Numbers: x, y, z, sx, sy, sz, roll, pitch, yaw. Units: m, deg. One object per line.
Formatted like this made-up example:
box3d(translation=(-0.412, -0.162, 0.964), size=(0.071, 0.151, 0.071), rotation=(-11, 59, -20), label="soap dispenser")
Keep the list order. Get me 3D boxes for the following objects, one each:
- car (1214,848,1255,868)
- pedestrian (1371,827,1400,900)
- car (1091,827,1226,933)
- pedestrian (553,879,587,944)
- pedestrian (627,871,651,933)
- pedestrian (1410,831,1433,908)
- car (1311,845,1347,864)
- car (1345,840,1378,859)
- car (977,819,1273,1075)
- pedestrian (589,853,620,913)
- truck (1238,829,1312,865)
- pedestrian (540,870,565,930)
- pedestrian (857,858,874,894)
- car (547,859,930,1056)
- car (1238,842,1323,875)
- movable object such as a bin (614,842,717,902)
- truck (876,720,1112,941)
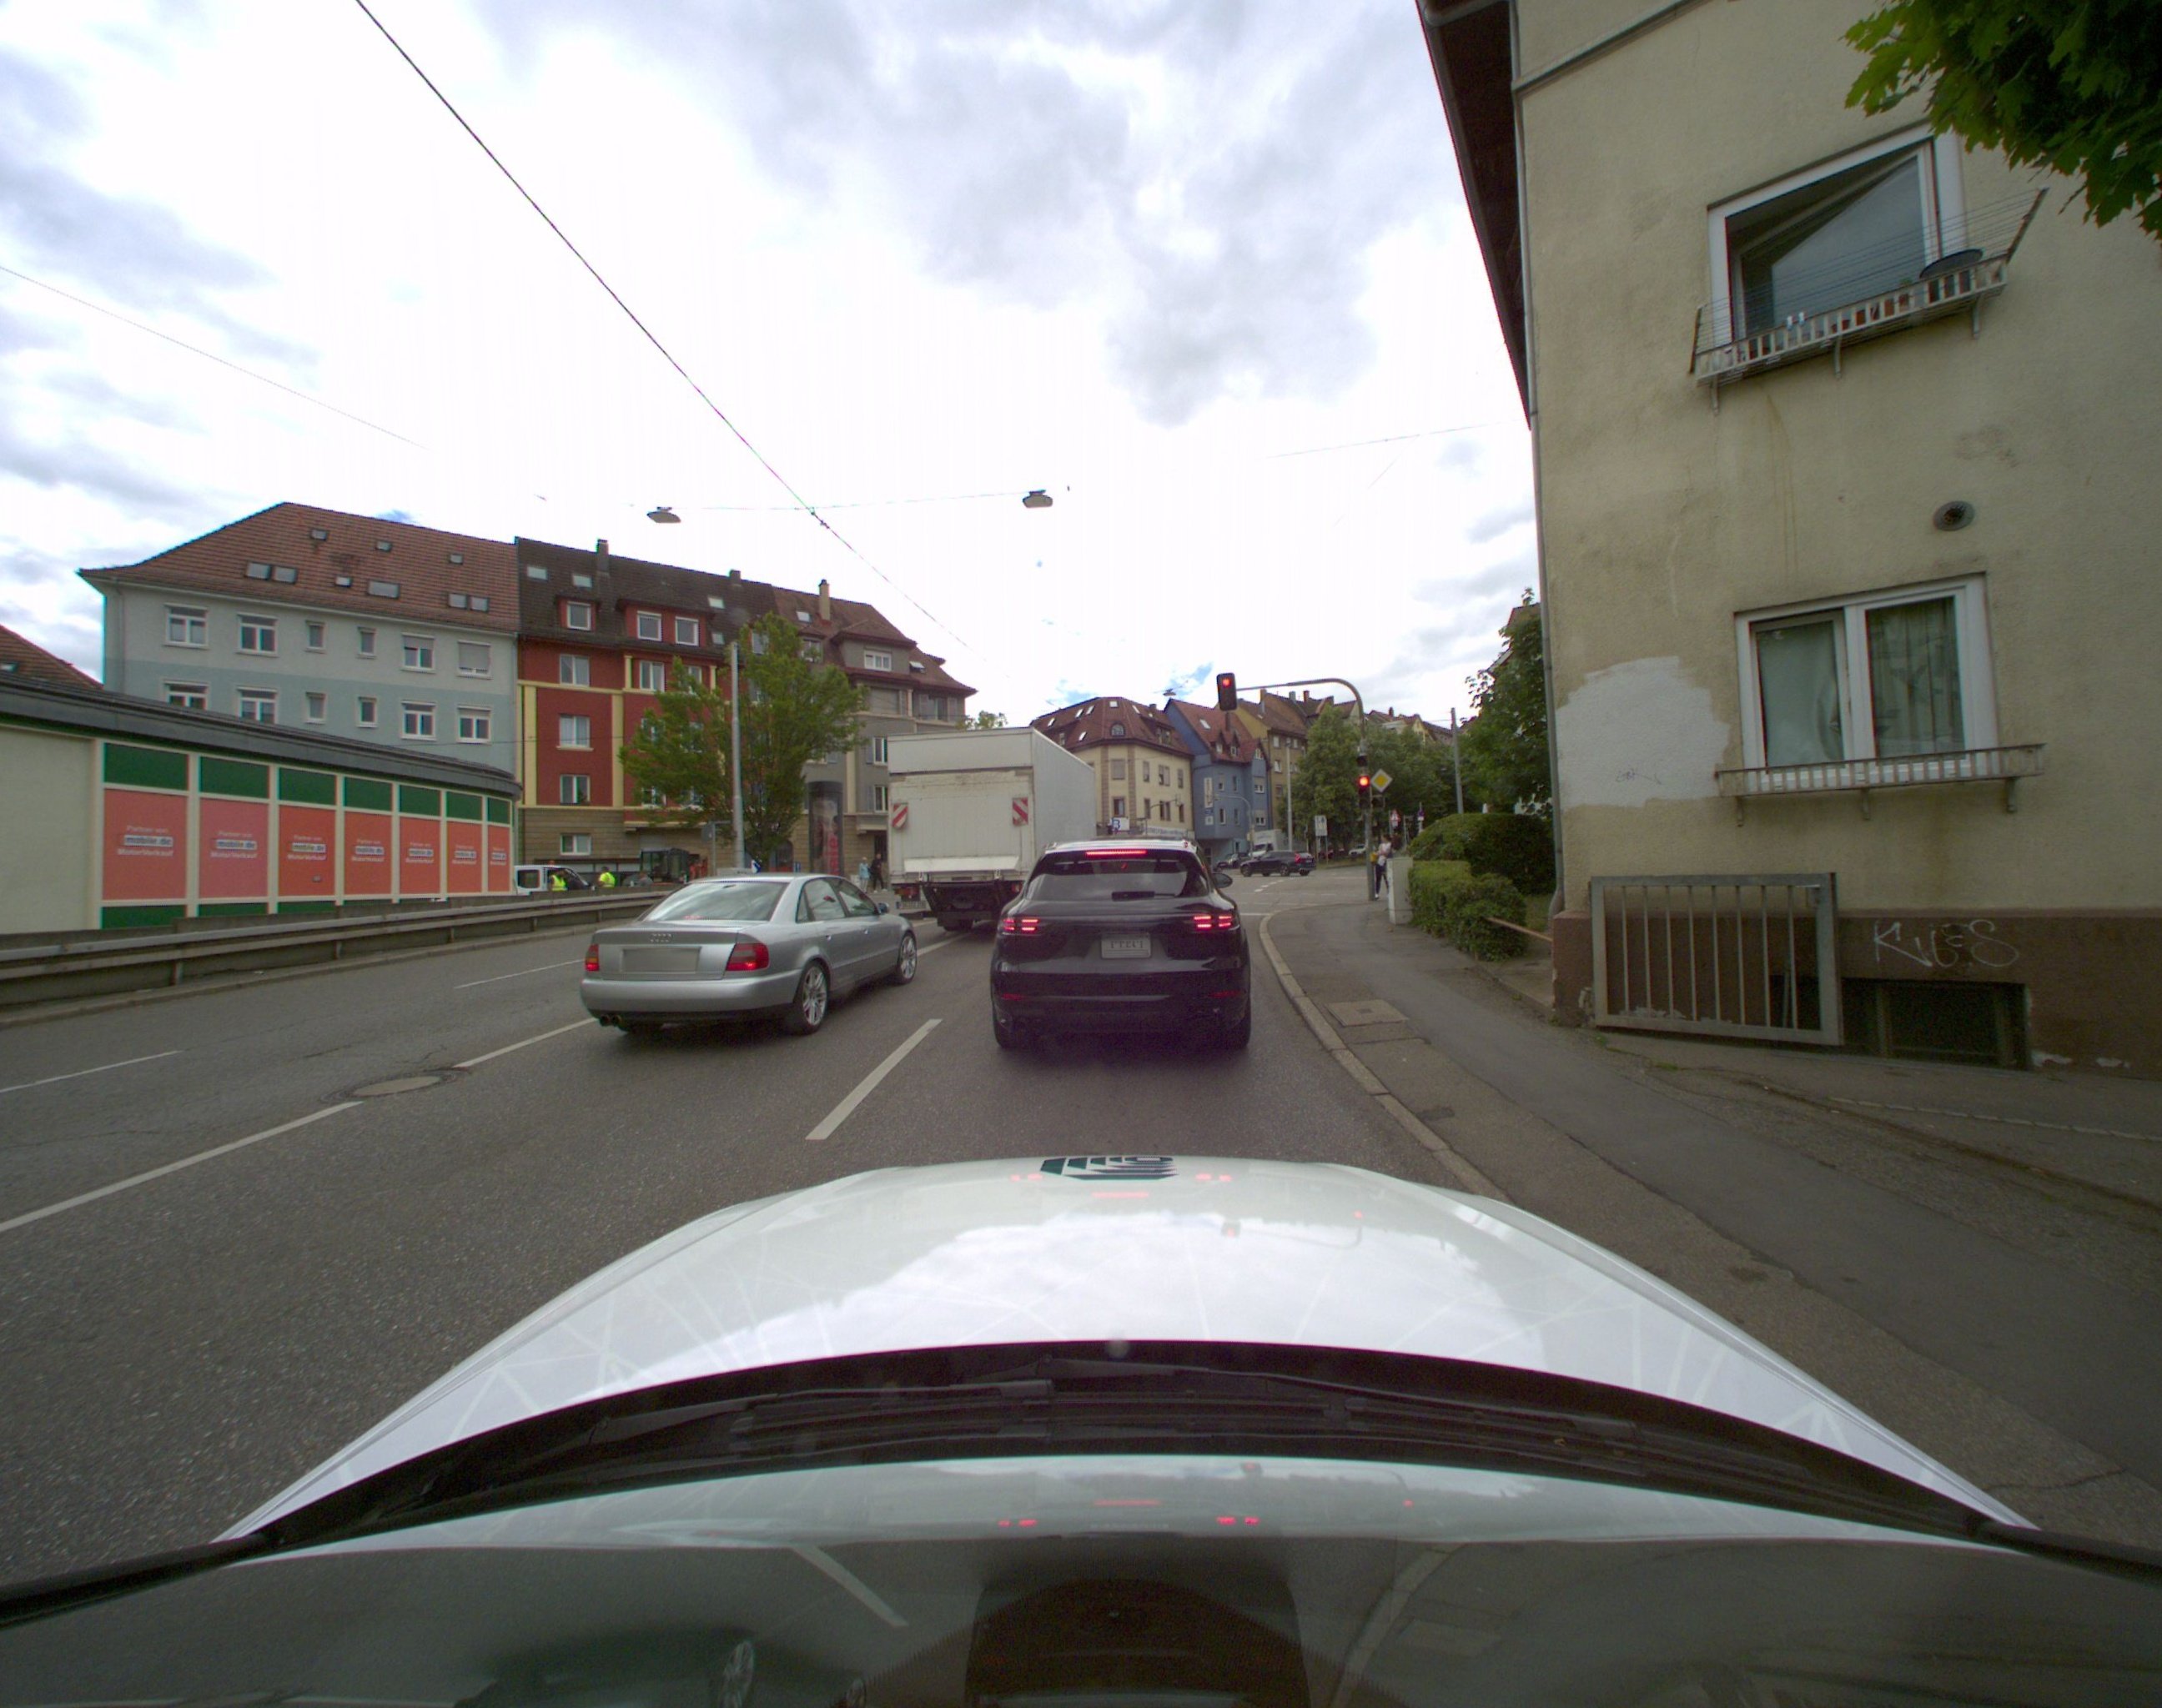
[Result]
box3d(translation=(13.501, 0.303, 71.658), size=(1.974, 1.684, 4.026), rotation=(-2, -1, 36), label="car")
box3d(translation=(7.652, 0.233, 20.494), size=(0.586, 1.819, 0.530), rotation=(1, -1, 8), label="pedestrian")
box3d(translation=(1.582, 0.441, 15.156), size=(1.980, 1.684, 4.014), rotation=(-1, 0, 12), label="car")
box3d(translation=(-13.706, 1.528, 21.846), size=(0.562, 1.700, 0.541), rotation=(1, -1, -10), label="pedestrian")
box3d(translation=(-12.594, 1.363, 23.208), size=(0.545, 1.730, 0.587), rotation=(1, -1, -33), label="pedestrian")
box3d(translation=(8.242, 0.361, 19.714), size=(0.459, 1.837, 0.325), rotation=(0, -1, 16), label="pedestrian")
box3d(translation=(26.126, 0.073, 85.827), size=(1.975, 2.014, 4.023), rotation=(0, -1, 45), label="car")
box3d(translation=(31.292, -0.460, 90.757), size=(1.975, 2.014, 4.023), rotation=(0, -1, 45), label="car")
box3d(translation=(0.272, 0.604, 7.511), size=(1.973, 1.684, 3.998), rotation=(-1, 0, -1), label="car")
box3d(translation=(-14.197, 0.862, 24.287), size=(0.570, 1.761, 0.616), rotation=(1, -1, -7), label="pedestrian")
box3d(translation=(18.737, -0.638, 78.305), size=(2.846, 3.340, 8.846), rotation=(0, 0, 43), label="truck")
box3d(translation=(-15.597, 1.334, 24.038), size=(0.479, 1.730, 0.536), rotation=(1, -1, -44), label="pedestrian")
box3d(translation=(-9.346, 0.946, 35.332), size=(0.587, 1.567, 0.486), rotation=(1, -1, 1), label="pedestrian")
box3d(translation=(-2.989, 0.797, 8.219), size=(1.687, 1.373, 4.185), rotation=(-1, 1, 6), label="car")
box3d(translation=(11.520, 0.316, 47.334), size=(1.937, 1.772, 4.599), rotation=(1, -3, -36), label="car")
box3d(translation=(-13.323, 0.556, 26.385), size=(1.903, 1.771, 3.984), rotation=(1, 0, -11), label="movable object such as a bin")
box3d(translation=(-1.318, -0.397, 17.362), size=(2.751, 3.575, 8.088), rotation=(-1, 0, 10), label="truck")
